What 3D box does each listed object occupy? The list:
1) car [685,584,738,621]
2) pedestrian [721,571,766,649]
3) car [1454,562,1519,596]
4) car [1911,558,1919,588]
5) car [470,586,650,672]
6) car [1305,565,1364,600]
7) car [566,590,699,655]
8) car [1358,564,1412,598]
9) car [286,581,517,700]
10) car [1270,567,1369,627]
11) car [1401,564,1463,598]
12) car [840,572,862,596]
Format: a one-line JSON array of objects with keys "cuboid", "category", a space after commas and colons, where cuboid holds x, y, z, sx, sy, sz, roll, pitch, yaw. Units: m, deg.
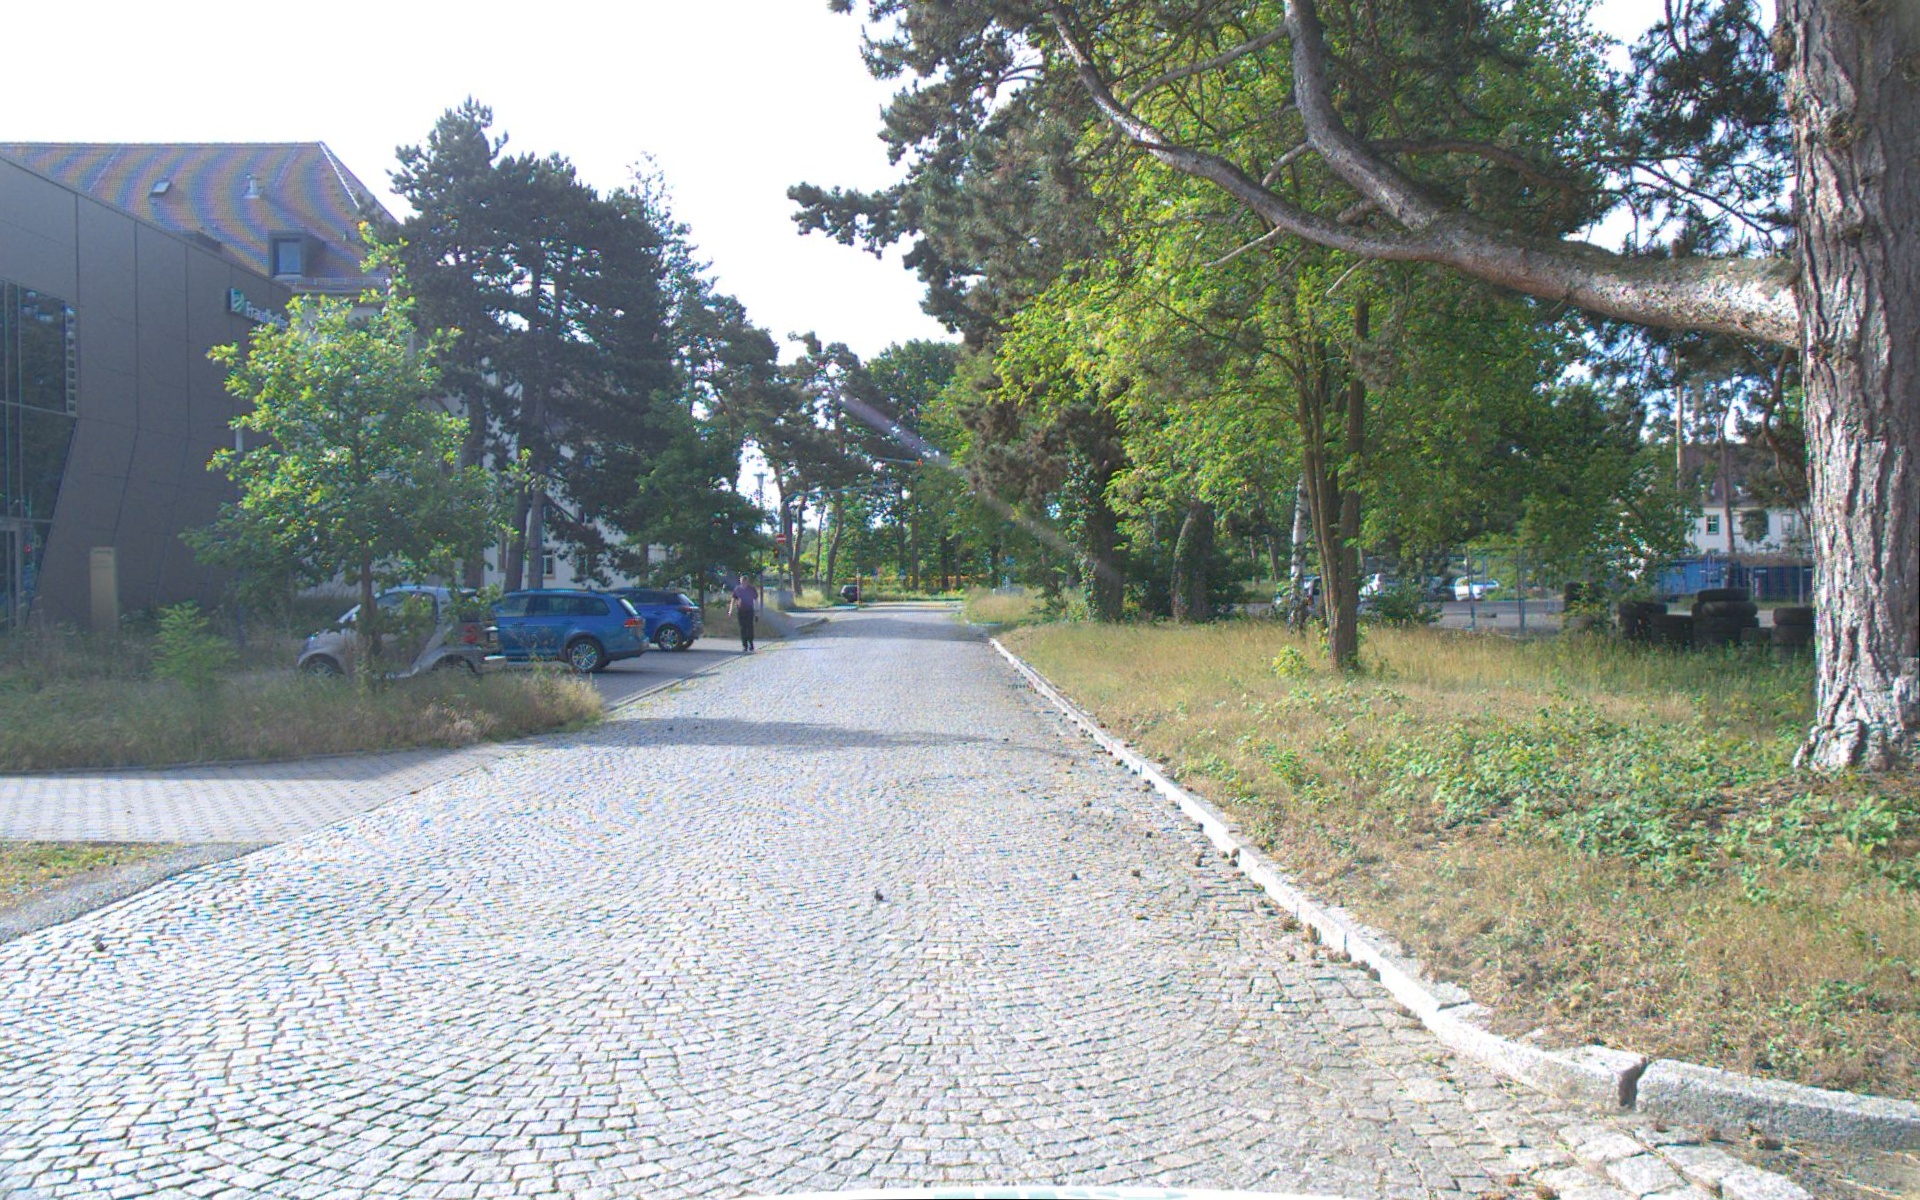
[{"cuboid": [-11.822, 0.090, 78.944, 1.953, 1.646, 3.999, -1, 1, -1], "category": "car"}, {"cuboid": [-5.317, 0.230, 40.583, 0.940, 1.876, 0.952, -1, 0, -15], "category": "pedestrian"}, {"cuboid": [26.775, -1.069, 84.267, 1.953, 1.646, 3.999, -1, 1, -1], "category": "car"}, {"cuboid": [57.212, -1.577, 95.989, 1.952, 1.780, 4.002, -1, 1, 4], "category": "car"}, {"cuboid": [-7.347, 0.529, 30.601, 3.024, 1.482, 1.490, 1, 0, -6], "category": "car"}, {"cuboid": [18.797, -0.879, 83.205, 1.953, 1.646, 3.999, -1, 1, -1], "category": "car"}, {"cuboid": [-7.874, 0.515, 39.920, 3.025, 1.475, 1.489, -1, 1, -8], "category": "car"}, {"cuboid": [21.433, -0.944, 83.532, 1.783, 1.646, 4.001, -1, 1, 1], "category": "car"}, {"cuboid": [-7.810, 0.550, 23.265, 2.702, 1.576, 1.426, -1, 0, 2], "category": "car"}, {"cuboid": [9.842, -0.106, 45.540, 1.847, 1.568, 4.000, -1, 1, 0], "category": "car"}, {"cuboid": [23.908, -0.941, 83.886, 1.953, 1.646, 3.999, -1, 1, -1], "category": "car"}, {"cuboid": [-9.611, -1.407, 146.141, 1.663, 2.049, 3.999, -1, 1, -1], "category": "car"}]
